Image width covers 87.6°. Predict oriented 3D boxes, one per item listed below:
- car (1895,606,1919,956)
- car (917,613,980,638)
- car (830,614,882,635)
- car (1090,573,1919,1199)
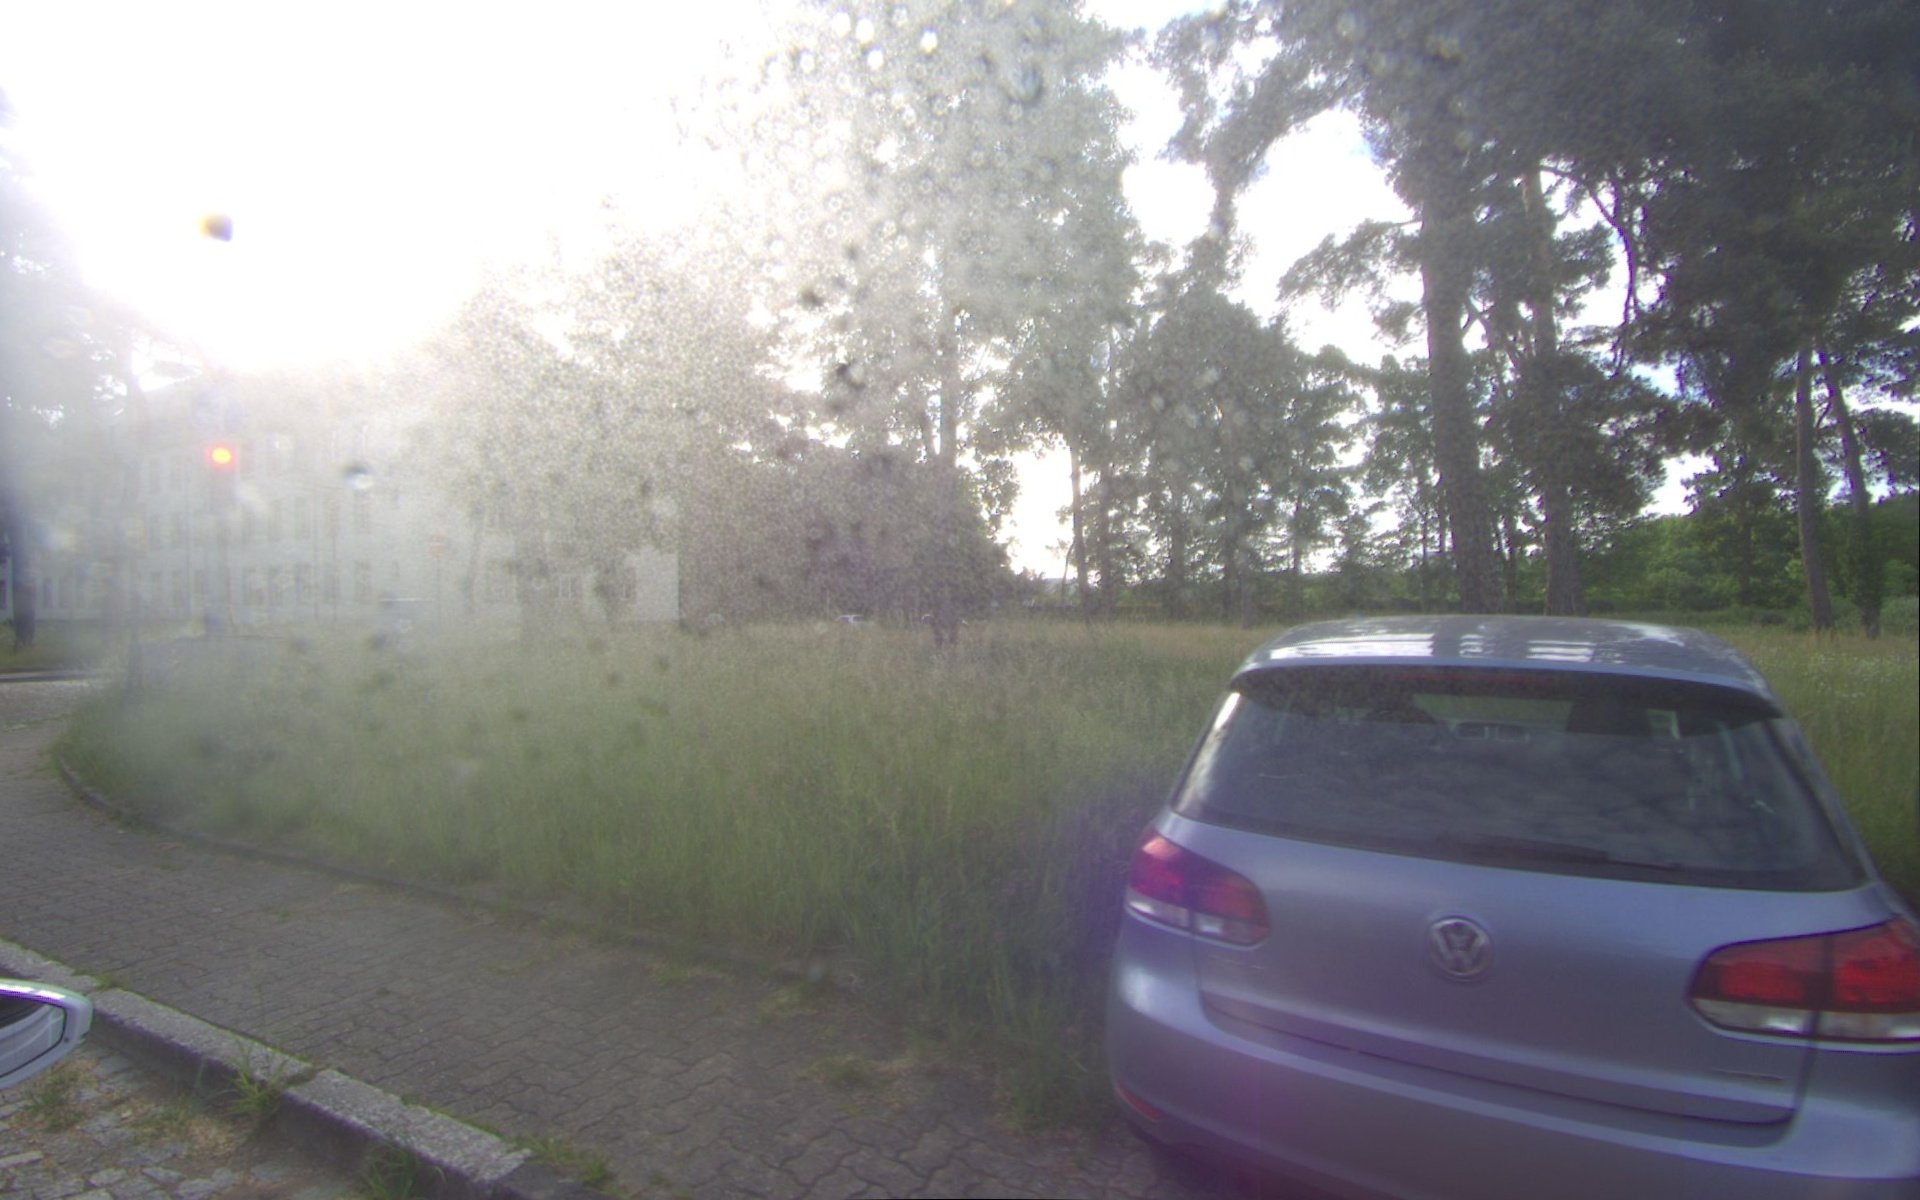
[{"bbox_3d":[3.986,0.754,2.131,1.779,1.502,4.510,0,-1,28],"label":"car"},{"bbox_3d":[-0.766,1.643,65.234,3.923,1.622,1.999,0,0,-7],"label":"car"},{"bbox_3d":[-7.265,1.742,70.448,1.540,1.415,3.984,0,-3,30],"label":"car"},{"bbox_3d":[1.900,0.730,3.522,1.616,1.490,3.839,0,-1,28],"label":"car"}]
